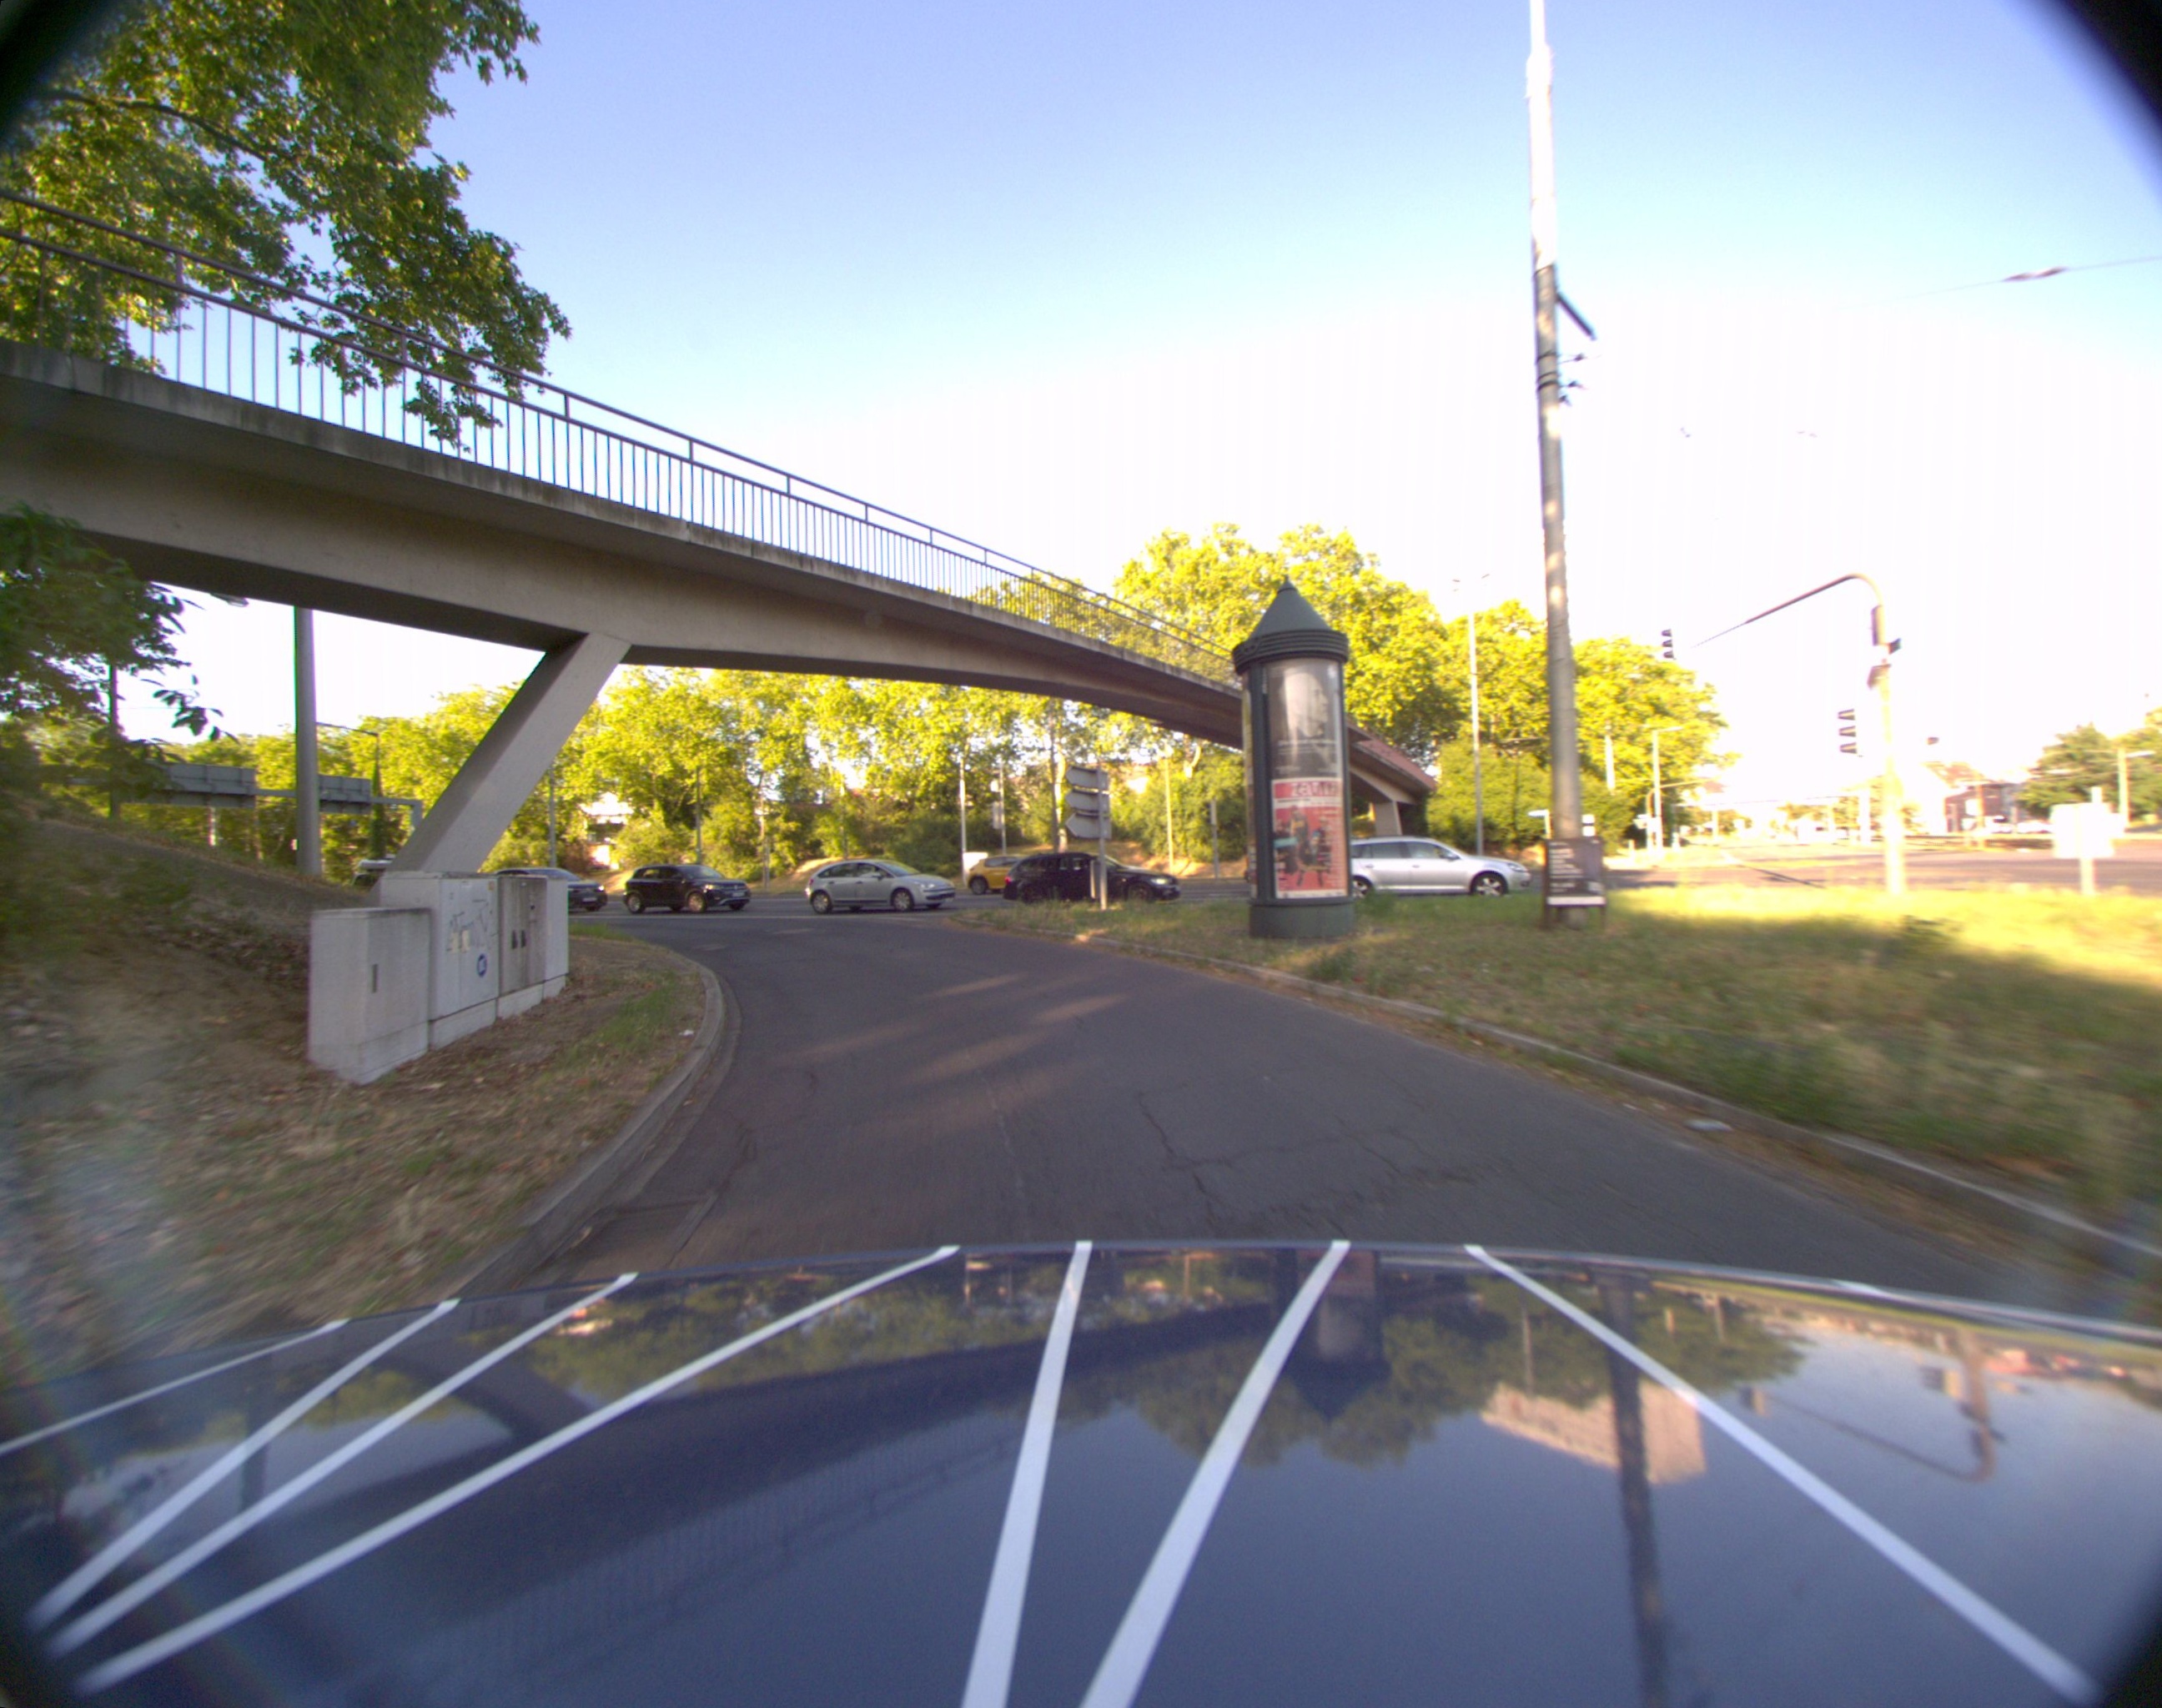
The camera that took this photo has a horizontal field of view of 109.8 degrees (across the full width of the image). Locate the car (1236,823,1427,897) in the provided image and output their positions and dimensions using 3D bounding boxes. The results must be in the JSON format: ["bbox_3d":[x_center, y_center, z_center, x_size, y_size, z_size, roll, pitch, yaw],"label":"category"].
[{"bbox_3d":[6.937,0.180,21.213,4.816,1.782,1.801,-3,0,22],"label":"car"}]

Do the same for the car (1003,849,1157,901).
[{"bbox_3d":[-0.020,0.642,23.692,4.402,1.424,1.750,-2,0,19],"label":"car"}]

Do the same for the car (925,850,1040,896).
[{"bbox_3d":[-3.736,0.744,28.837,3.992,1.555,1.671,-2,-3,19],"label":"car"}]

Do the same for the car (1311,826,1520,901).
[{"bbox_3d":[7.267,0.273,16.876,3.992,1.433,1.801,-2,-3,19],"label":"car"}]

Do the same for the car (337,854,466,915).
[{"bbox_3d":[-25.012,1.155,27.994,3.992,2.092,1.801,-2,-3,19],"label":"car"}]

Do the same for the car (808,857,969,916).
[{"bbox_3d":[-5.399,0.903,21.352,3.992,1.472,1.801,-2,-1,19],"label":"car"}]

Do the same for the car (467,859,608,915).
[{"bbox_3d":[-18.578,1.160,26.003,4.232,1.739,1.801,-2,-3,19],"label":"car"}]

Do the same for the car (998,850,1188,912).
[{"bbox_3d":[0.323,0.719,19.377,4.467,1.374,1.801,-2,-3,19],"label":"car"}]

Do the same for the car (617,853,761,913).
[{"bbox_3d":[-12.482,0.958,24.205,3.992,1.739,1.801,-2,-3,19],"label":"car"}]
